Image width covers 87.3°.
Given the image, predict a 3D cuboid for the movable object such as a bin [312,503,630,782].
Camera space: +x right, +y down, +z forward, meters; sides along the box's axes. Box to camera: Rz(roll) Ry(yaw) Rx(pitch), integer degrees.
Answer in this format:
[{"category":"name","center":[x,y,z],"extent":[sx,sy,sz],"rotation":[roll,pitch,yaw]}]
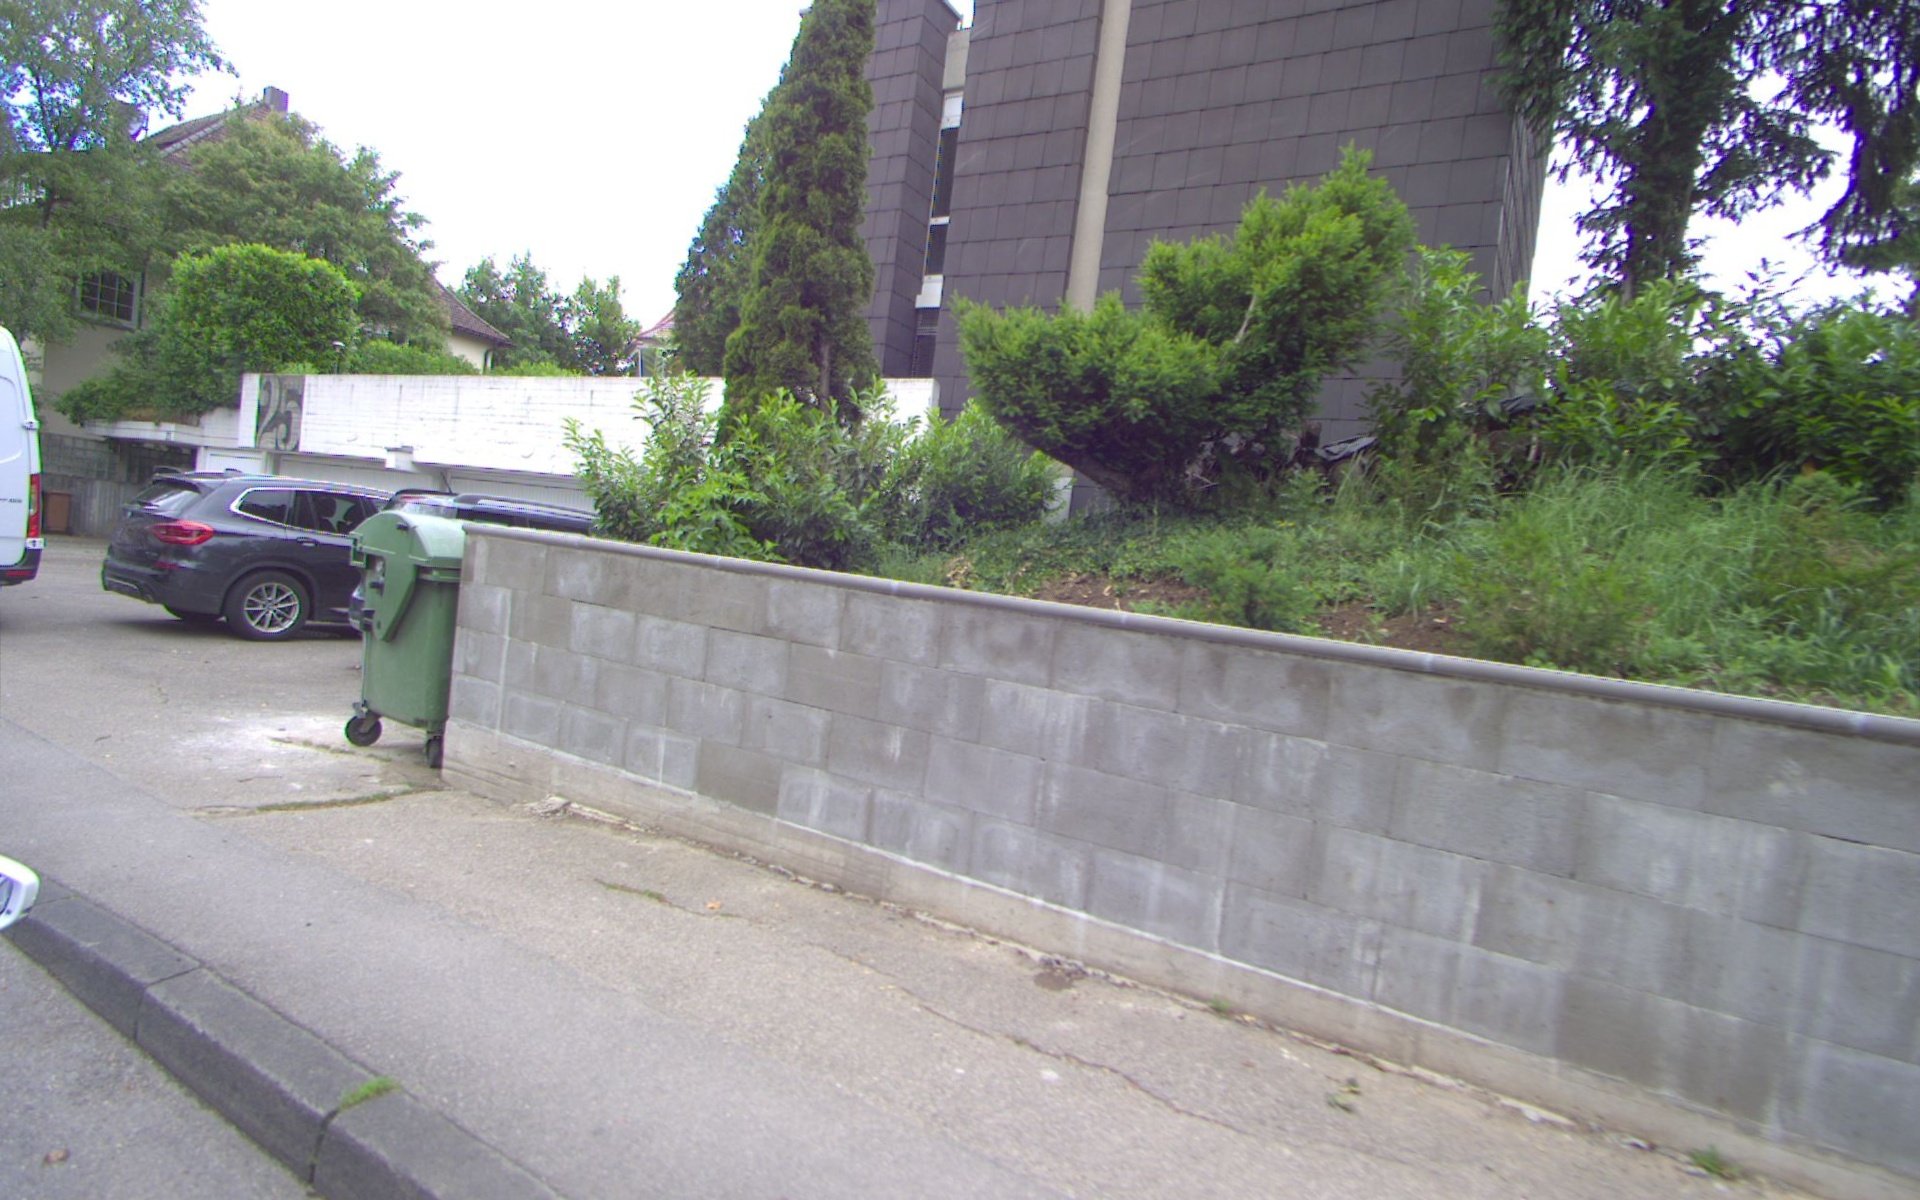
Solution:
[{"category":"movable object such as a bin","center":[-3.047,0.227,6.333],"extent":[1.161,1.470,1.300],"rotation":[7,3,31]}]

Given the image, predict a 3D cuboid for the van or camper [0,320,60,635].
[{"category":"van or camper","center":[-11.116,-1.378,9.614],"extent":[6.251,2.664,1.963],"rotation":[8,4,31]}]

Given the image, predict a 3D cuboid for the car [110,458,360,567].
[{"category":"car","center":[-16.048,-1.892,22.494],"extent":[1.936,1.732,3.994],"rotation":[8,0,29]}]

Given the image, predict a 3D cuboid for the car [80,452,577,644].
[{"category":"car","center":[-6.895,-0.461,11.496],"extent":[1.800,1.674,4.394],"rotation":[8,2,33]}]

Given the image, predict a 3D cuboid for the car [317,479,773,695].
[{"category":"car","center":[-3.974,-0.075,10.172],"extent":[1.800,1.674,3.796],"rotation":[8,2,35]}]
